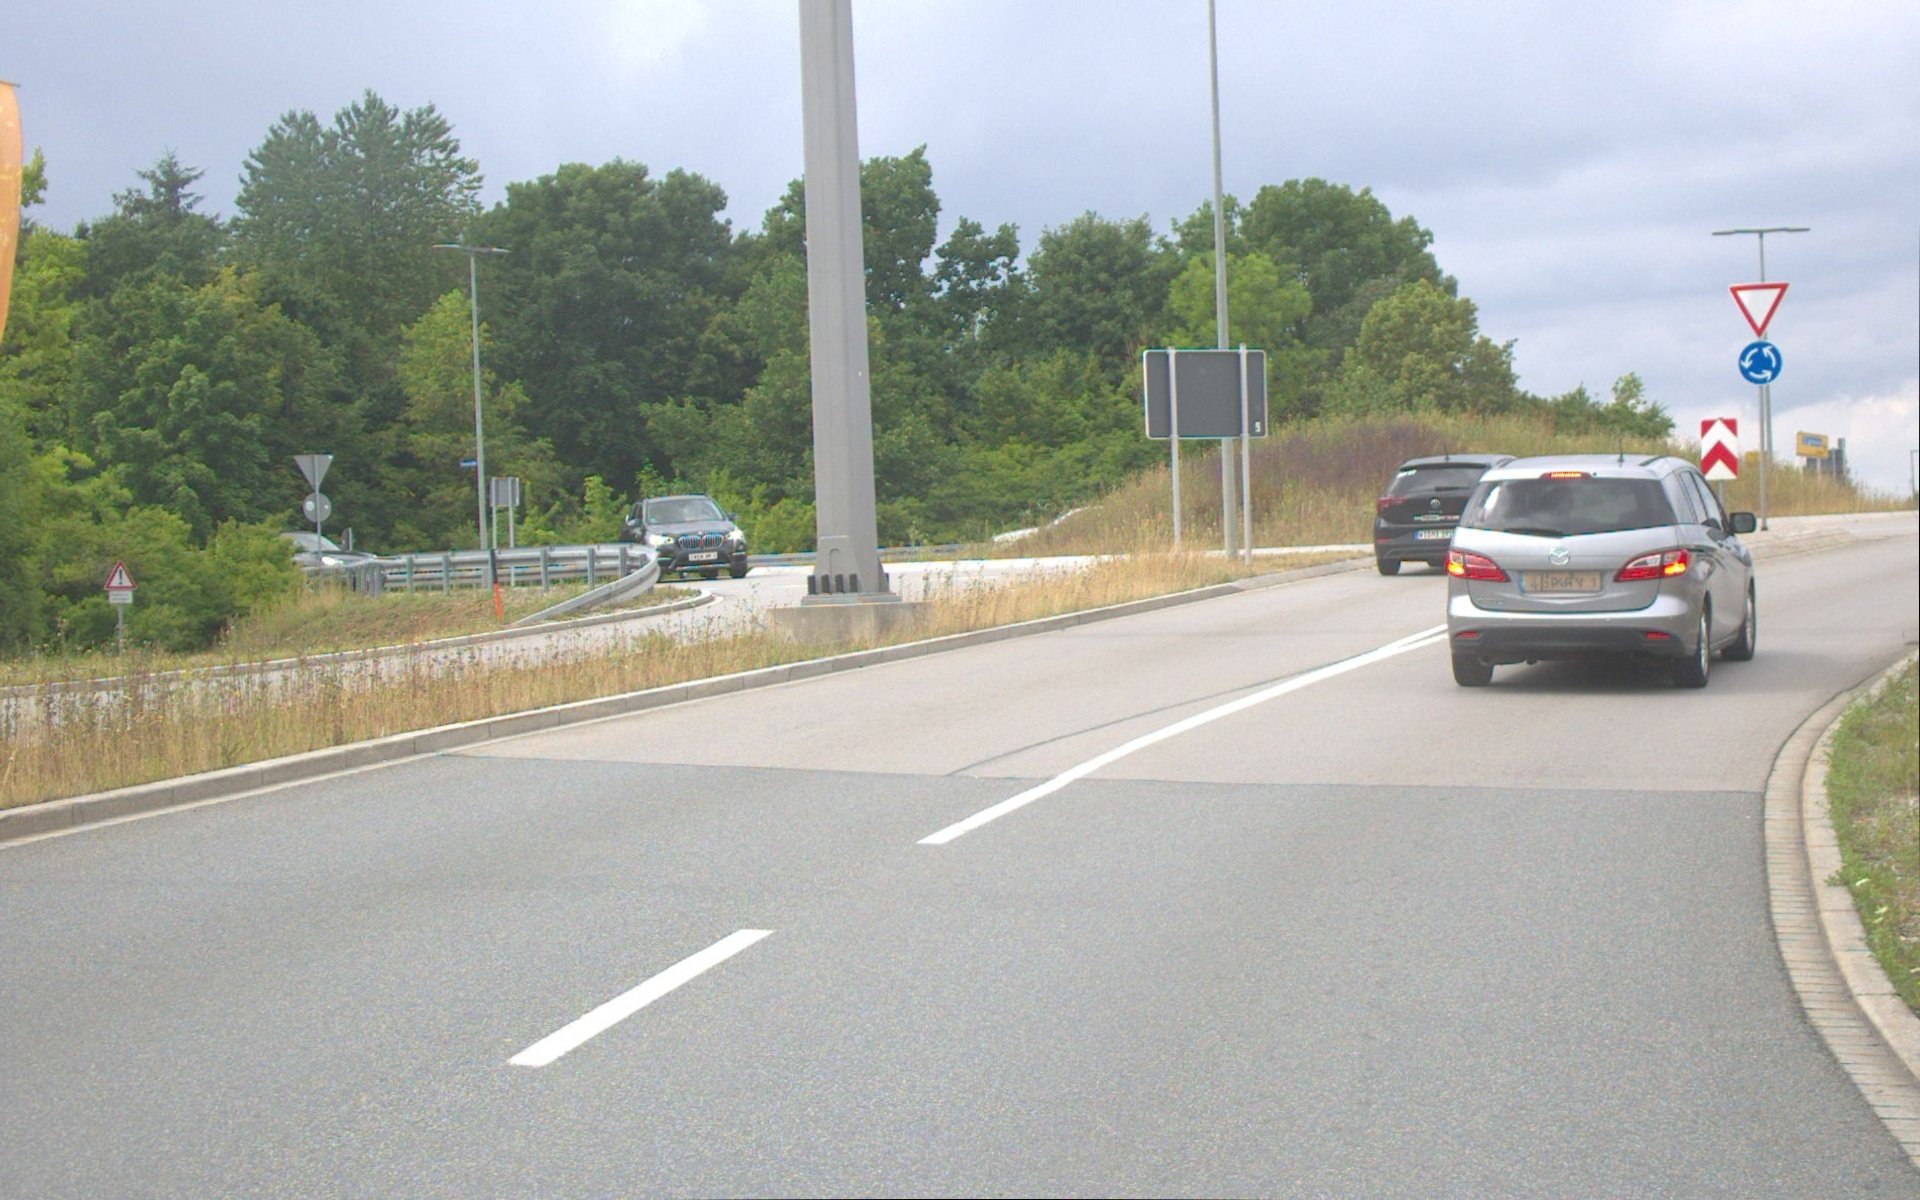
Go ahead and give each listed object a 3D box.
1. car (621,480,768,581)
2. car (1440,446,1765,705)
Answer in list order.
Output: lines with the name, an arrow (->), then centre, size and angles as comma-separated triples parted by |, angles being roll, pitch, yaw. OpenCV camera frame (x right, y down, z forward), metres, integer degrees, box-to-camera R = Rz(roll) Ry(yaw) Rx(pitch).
car -> -4.910, -1.277, 63.079 | 1.853, 1.659, 4.164 | -5, 2, -15
car -> 4.705, -0.255, 24.789 | 1.769, 1.611, 3.919 | 2, 4, 18
